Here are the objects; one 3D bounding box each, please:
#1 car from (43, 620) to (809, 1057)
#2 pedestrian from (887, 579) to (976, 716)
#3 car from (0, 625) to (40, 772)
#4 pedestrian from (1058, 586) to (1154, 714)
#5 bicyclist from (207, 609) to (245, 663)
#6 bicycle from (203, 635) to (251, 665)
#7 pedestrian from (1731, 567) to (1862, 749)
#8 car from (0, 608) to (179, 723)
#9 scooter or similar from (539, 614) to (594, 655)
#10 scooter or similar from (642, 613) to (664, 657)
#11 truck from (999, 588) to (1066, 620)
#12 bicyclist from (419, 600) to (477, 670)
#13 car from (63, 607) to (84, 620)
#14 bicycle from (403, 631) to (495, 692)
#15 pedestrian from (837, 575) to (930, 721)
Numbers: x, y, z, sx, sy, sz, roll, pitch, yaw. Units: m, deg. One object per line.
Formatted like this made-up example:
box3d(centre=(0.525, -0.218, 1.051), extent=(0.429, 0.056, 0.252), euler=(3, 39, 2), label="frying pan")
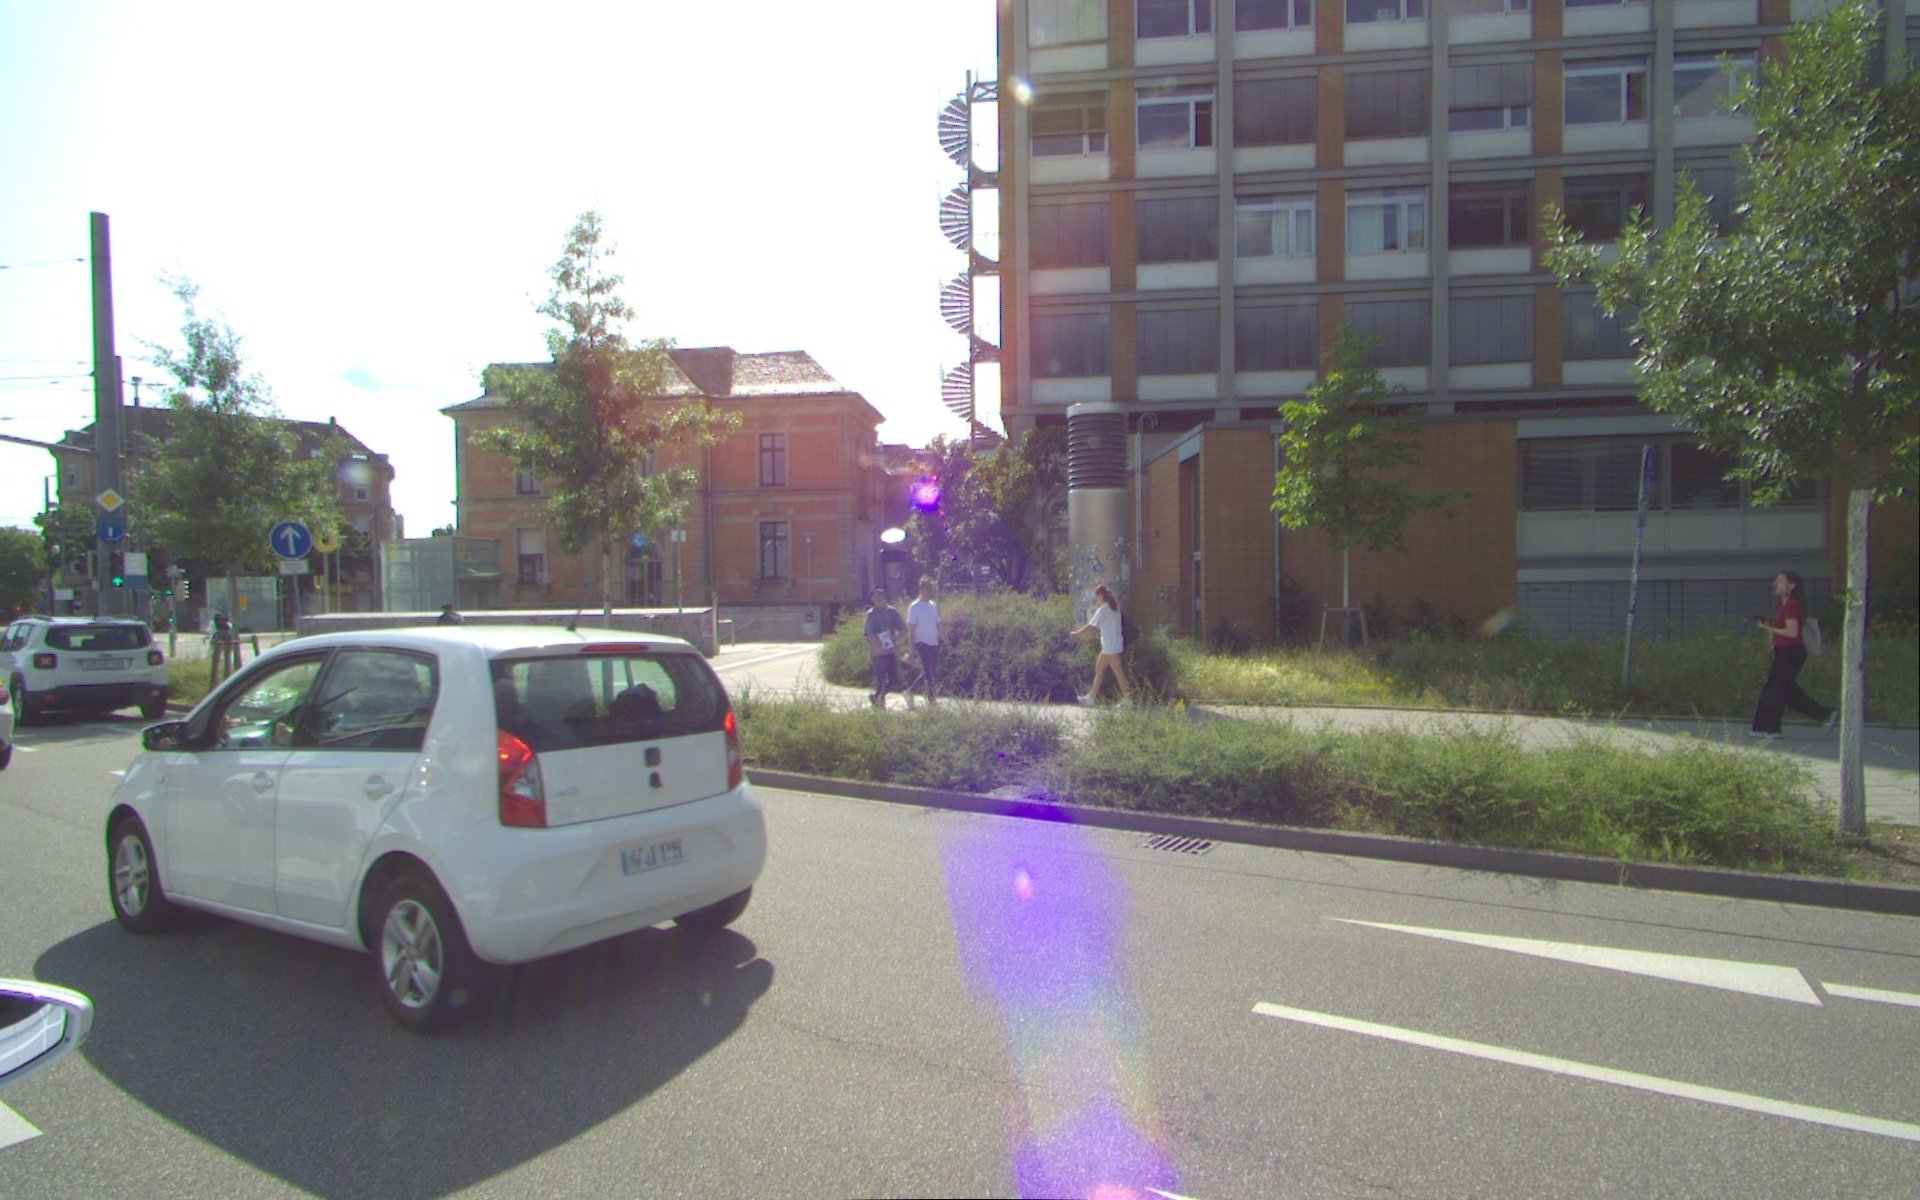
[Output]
box3d(centre=(-2.818, 0.866, 5.060), extent=(3.942, 1.439, 1.647), euler=(-1, -3, 32), label="car")
box3d(centre=(-0.387, 0.622, 13.634), extent=(0.880, 1.770, 0.737), euler=(0, 3, 44), label="pedestrian")
box3d(centre=(-11.270, 0.996, 10.417), extent=(3.631, 1.437, 1.844), euler=(-1, -1, 36), label="car")
box3d(centre=(1.975, 0.661, 13.521), extent=(1.081, 1.645, 0.612), euler=(-1, 3, 34), label="pedestrian")
box3d(centre=(-20.417, 0.988, 27.852), extent=(0.763, 1.470, 0.606), euler=(0, 0, 34), label="bicyclist")
box3d(centre=(-20.380, 1.390, 27.838), extent=(1.599, 0.786, 0.583), euler=(-1, 0, 34), label="bicycle")
box3d(centre=(7.982, 0.529, 9.586), extent=(0.877, 1.645, 0.612), euler=(-1, 3, 32), label="pedestrian")
box3d(centre=(-14.643, 1.014, 16.603), extent=(3.951, 1.673, 1.829), euler=(-2, -1, 39), label="car")
box3d(centre=(-11.248, 0.988, 28.609), extent=(1.420, 1.133, 0.465), euler=(0, 2, 13), label="scooter or similar")
box3d(centre=(-8.337, 0.929, 27.230), extent=(0.457, 1.119, 1.316), euler=(-1, 1, -13), label="scooter or similar")
box3d(centre=(4.922, 0.282, 67.490), extent=(4.304, 2.039, 2.000), euler=(0, -2, 11), label="truck")
box3d(centre=(-9.386, 0.620, 18.348), extent=(0.913, 1.237, 0.631), euler=(1, 3, 43), label="bicyclist")
box3d(centre=(-116.107, 1.755, 131.186), extent=(1.820, 1.673, 3.971), euler=(0, -1, -37), label="car")
box3d(centre=(-9.403, 1.100, 18.385), extent=(1.939, 0.983, 0.842), euler=(0, 3, 42), label="bicycle")
box3d(centre=(-0.987, 0.595, 12.921), extent=(0.880, 1.778, 0.737), euler=(0, 3, 44), label="pedestrian")
